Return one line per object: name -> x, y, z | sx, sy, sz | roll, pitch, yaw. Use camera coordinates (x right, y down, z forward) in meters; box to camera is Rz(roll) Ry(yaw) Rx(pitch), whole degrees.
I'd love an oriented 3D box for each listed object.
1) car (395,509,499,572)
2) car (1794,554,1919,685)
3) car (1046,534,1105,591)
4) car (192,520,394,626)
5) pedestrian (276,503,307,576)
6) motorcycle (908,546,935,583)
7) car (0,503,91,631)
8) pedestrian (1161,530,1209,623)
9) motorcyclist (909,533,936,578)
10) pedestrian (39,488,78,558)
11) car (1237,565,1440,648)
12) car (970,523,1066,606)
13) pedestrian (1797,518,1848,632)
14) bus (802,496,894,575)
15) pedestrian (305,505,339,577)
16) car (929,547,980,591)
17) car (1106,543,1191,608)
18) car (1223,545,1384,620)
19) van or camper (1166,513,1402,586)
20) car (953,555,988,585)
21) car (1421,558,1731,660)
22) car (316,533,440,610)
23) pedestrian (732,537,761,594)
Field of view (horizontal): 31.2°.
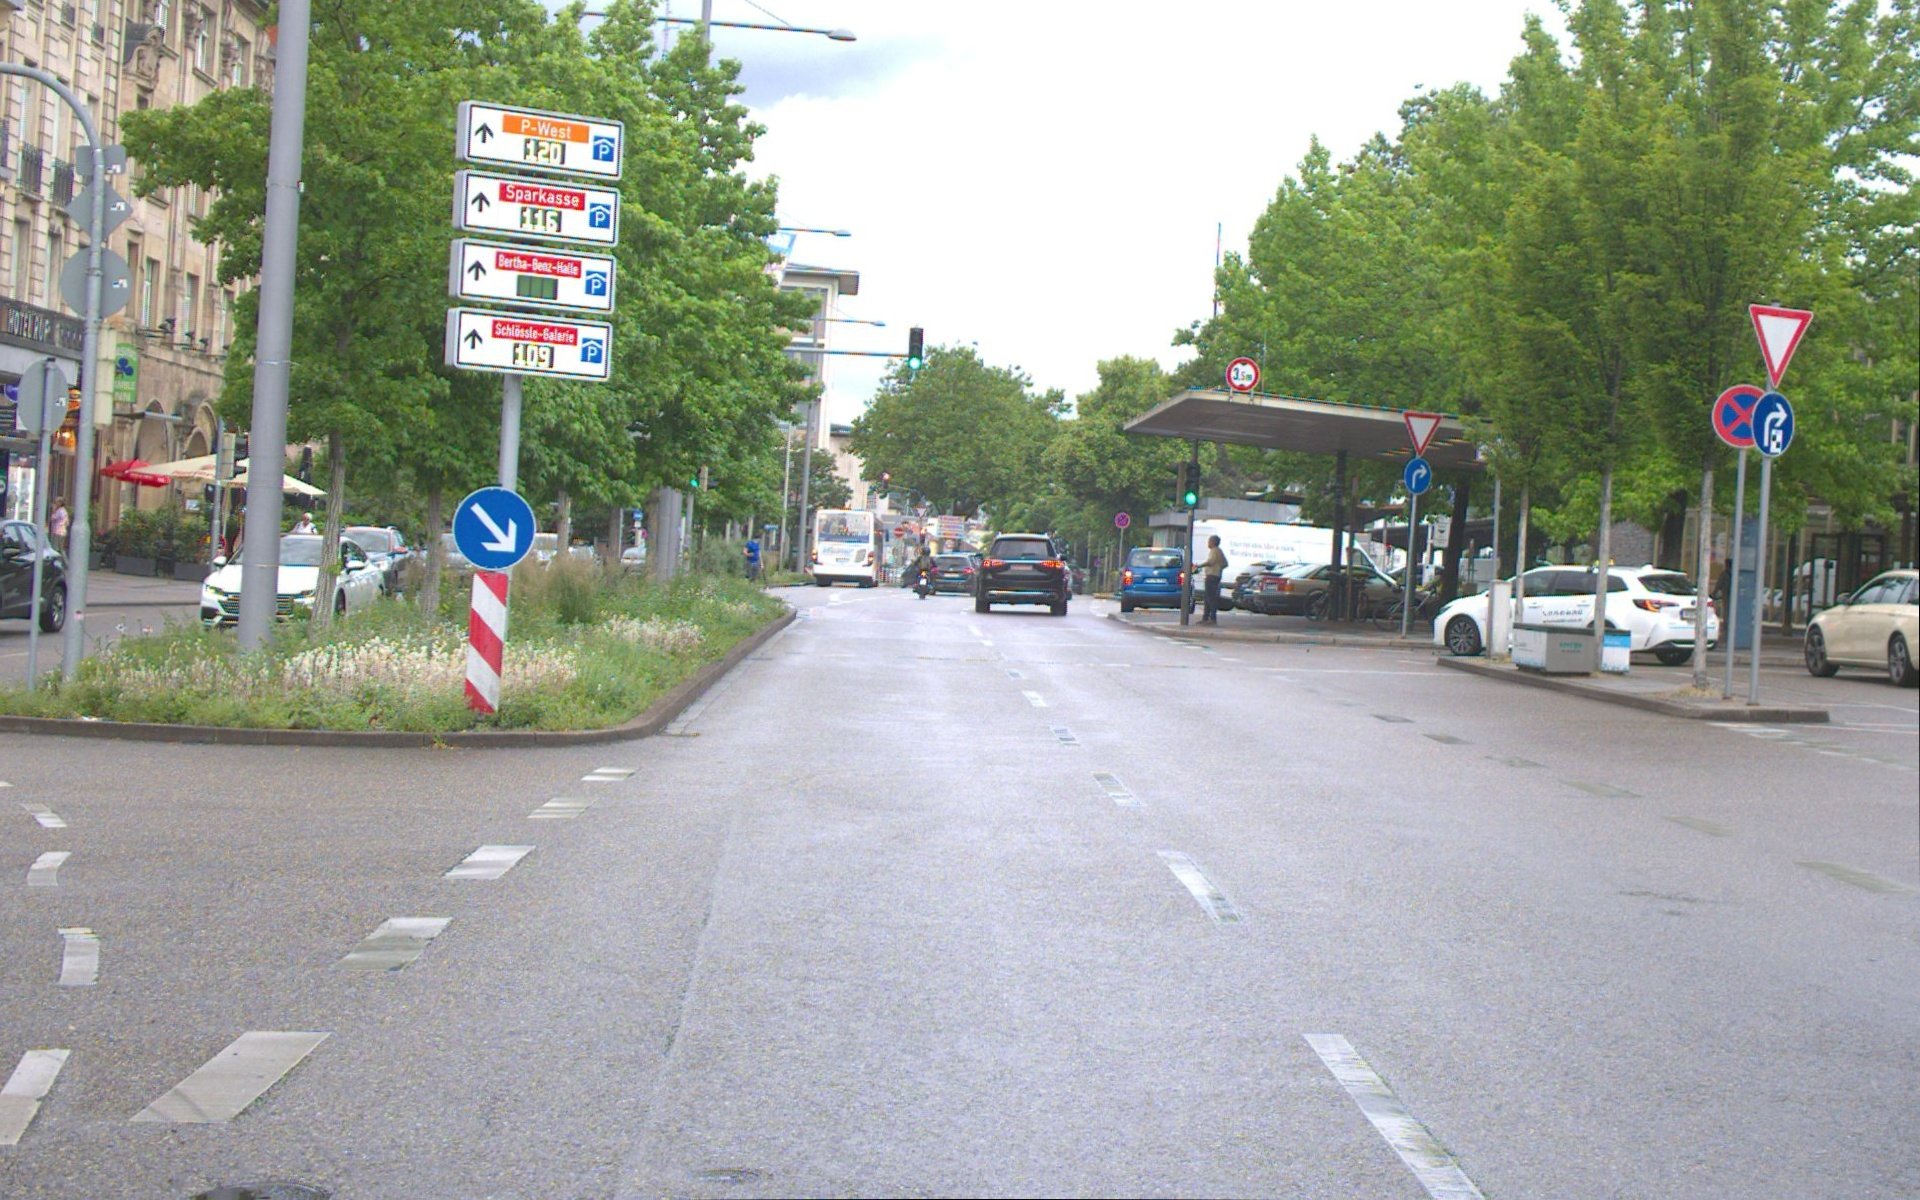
car -> -12.286, -1.433, 82.495 | 1.755, 1.436, 4.060 | 1, 1, 2
car -> 12.612, 0.233, 44.304 | 1.993, 1.594, 4.824 | 1, 1, -7
car -> 3.921, -1.293, 116.955 | 1.788, 1.853, 4.000 | 1, 1, -1
car -> -9.258, -0.401, 48.067 | 1.724, 1.377, 4.859 | 1, 1, 2
pedestrian -> -16.020, -1.448, 82.388 | 0.575, 1.726, 0.609 | 2, 1, -1
motorcycle -> -1.131, -1.053, 102.445 | 0.766, 1.073, 2.175 | 2, 1, 0
car -> -13.074, -0.458, 45.363 | 1.772, 1.525, 4.078 | 3, 3, 6
pedestrian -> 4.355, -0.454, 66.566 | 0.717, 1.785, 0.666 | 1, 1, -12
motorcyclist -> -1.121, -1.329, 102.438 | 0.764, 1.327, 0.866 | 2, 1, 0
pedestrian -> -19.606, -1.681, 74.765 | 0.661, 1.505, 0.519 | 1, 1, -38
car -> 9.058, 0.154, 82.284 | 4.335, 1.851, 2.001 | 1, 1, -20
car -> 1.286, -0.827, 77.688 | 1.993, 1.800, 4.690 | 1, 1, -1
pedestrian -> 18.496, -0.542, 73.744 | 0.843, 2.403, 0.862 | 1, 1, 1
bus -> -4.894, -2.811, 150.742 | 3.760, 3.198, 15.527 | 1, 1, -2
pedestrian -> -15.282, -1.419, 82.395 | 0.674, 1.696, 0.634 | 1, 1, -1
car -> -0.218, -1.090, 119.654 | 1.708, 1.443, 4.000 | 1, 1, -1
car -> 4.655, -0.622, 85.402 | 1.816, 1.525, 4.000 | 1, 1, -1
car -> 9.642, -0.496, 96.653 | 3.986, 2.007, 2.001 | 1, 1, -20
van or camper -> 9.714, -1.495, 102.892 | 6.753, 2.007, 2.385 | 1, 0, -26
car -> 0.549, -1.552, 177.903 | 1.708, 1.469, 4.000 | 1, 1, -1
car -> 9.104, 0.110, 51.070 | 1.774, 1.380, 4.366 | 0, 1, -41
car -> -11.504, -0.586, 68.159 | 1.631, 1.471, 4.026 | 1, 1, 2
pedestrian -> -6.426, -1.045, 103.612 | 0.758, 1.695, 0.559 | 2, 1, 6
